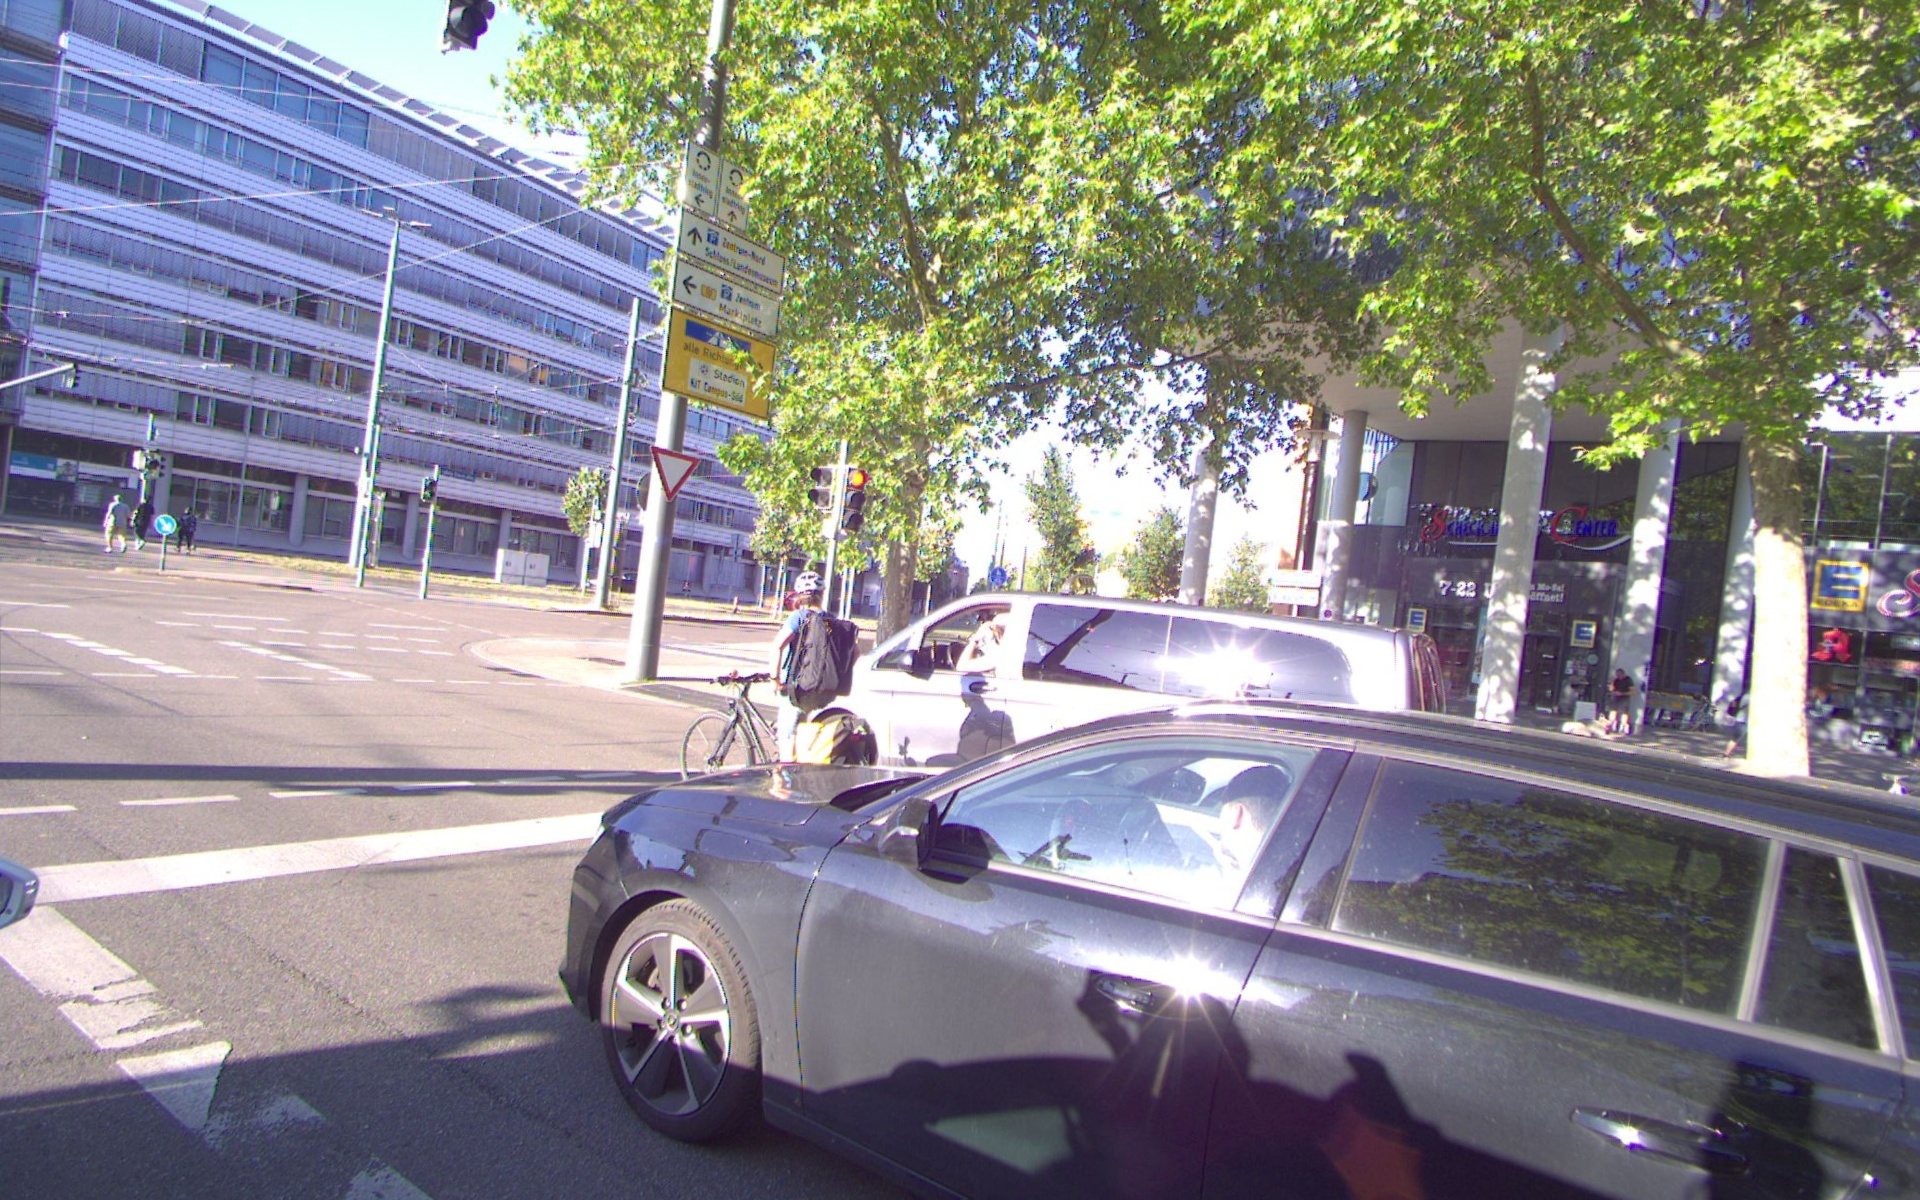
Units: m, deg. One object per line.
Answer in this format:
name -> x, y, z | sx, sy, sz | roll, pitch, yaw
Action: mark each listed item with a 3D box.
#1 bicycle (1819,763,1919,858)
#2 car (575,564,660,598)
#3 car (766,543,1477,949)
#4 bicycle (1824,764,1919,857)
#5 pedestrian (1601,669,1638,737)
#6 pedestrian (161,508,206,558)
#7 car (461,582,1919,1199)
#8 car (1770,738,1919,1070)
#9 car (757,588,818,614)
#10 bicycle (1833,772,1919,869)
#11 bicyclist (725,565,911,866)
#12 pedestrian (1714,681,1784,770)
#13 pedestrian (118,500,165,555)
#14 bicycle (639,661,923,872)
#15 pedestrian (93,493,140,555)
bicycle -> 11.200, 2.542, 12.083 | 0.437, 0.930, 1.210 | 6, 0, -39
car -> -19.218, -1.036, 56.611 | 1.758, 1.415, 4.157 | 7, 0, 37
car -> 1.105, 0.838, 7.943 | 5.012, 2.004, 1.939 | 7, 0, 31
bicycle -> 11.498, 2.605, 12.355 | 0.460, 0.938, 1.210 | 6, 0, -39
pedestrian -> 17.539, 2.738, 26.760 | 0.598, 1.707, 0.511 | 6, 1, -41
pedestrian -> -26.930, -2.323, 34.887 | 0.883, 1.583, 0.947 | 7, 1, 39
car -> 0.764, 0.947, 2.753 | 4.199, 1.431, 1.742 | 7, -2, 32
car -> 6.590, 1.748, 4.577 | 4.181, 1.502, 1.742 | 7, -2, 31
car -> -12.085, 0.091, 70.706 | 1.758, 1.411, 3.984 | 7, 1, 37
bicycle -> 10.542, 2.476, 11.097 | 1.233, 0.898, 0.462 | 7, 1, 32
bicyclist -> -0.893, 0.696, 6.368 | 0.766, 1.714, 0.632 | 7, 1, 32
pedestrian -> 17.434, 2.761, 22.241 | 0.595, 1.805, 0.881 | 6, 1, -27
pedestrian -> -27.611, -2.449, 33.928 | 1.020, 1.706, 0.912 | 7, 1, 39
bicycle -> -1.206, 1.021, 6.576 | 1.839, 0.993, 0.561 | 7, 1, 32
pedestrian -> -26.785, -2.402, 31.948 | 0.858, 1.811, 0.863 | 7, 1, 37
